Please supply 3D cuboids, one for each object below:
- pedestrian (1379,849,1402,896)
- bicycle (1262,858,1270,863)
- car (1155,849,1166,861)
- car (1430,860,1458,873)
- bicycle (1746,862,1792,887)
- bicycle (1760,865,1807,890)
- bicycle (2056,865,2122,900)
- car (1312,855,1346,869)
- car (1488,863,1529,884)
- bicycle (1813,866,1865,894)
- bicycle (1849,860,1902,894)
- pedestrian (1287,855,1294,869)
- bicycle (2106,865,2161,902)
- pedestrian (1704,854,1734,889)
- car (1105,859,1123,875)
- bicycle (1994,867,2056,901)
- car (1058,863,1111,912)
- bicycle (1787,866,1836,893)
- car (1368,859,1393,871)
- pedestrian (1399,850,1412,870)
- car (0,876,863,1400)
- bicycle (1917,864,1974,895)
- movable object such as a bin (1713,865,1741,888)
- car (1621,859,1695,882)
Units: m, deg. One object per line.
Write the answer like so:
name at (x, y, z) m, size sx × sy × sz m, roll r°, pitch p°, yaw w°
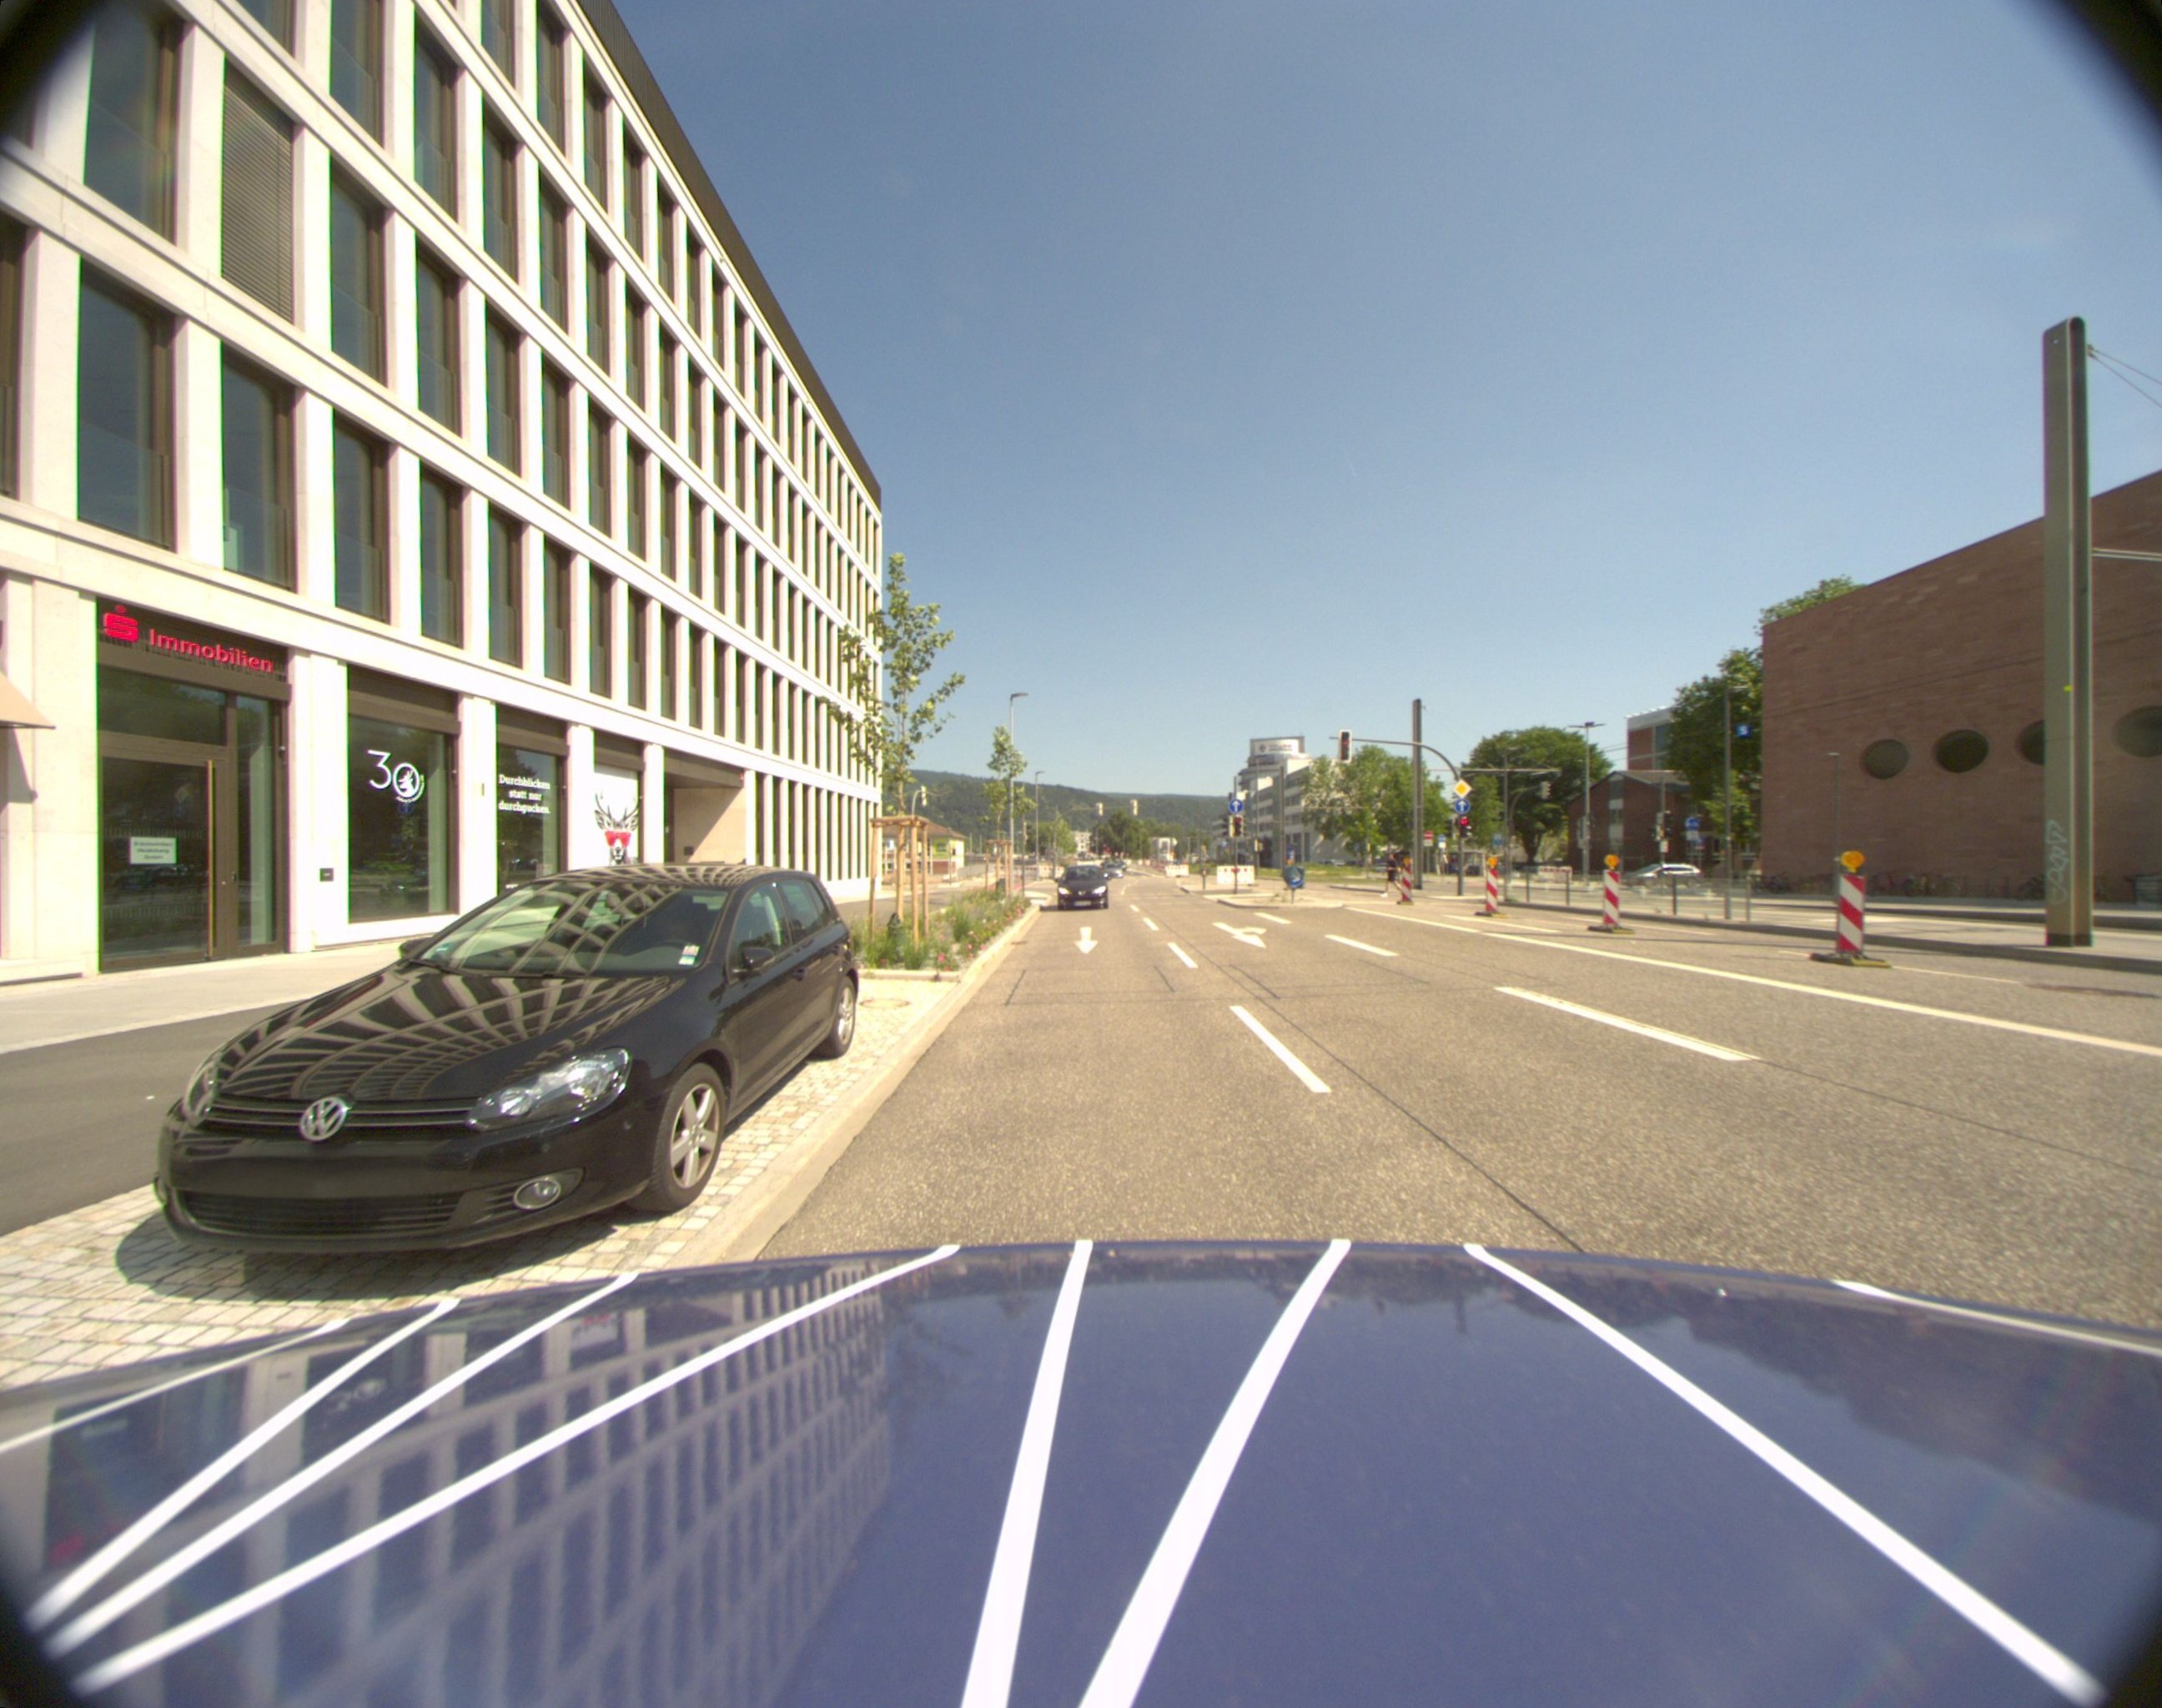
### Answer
pedestrian at (12.445, 0.741, 30.557) m, size 0.654 × 1.822 × 0.661 m, roll -2°, pitch 0°, yaw 5°
bicycle at (40.633, 1.391, 166.913) m, size 1.650 × 1.182 × 0.438 m, roll -2°, pitch 0°, yaw 1°
car at (19.218, 0.160, 183.512) m, size 2.082 × 2.724 × 5.986 m, roll 1°, pitch 0°, yaw 2°
car at (48.654, 1.655, 101.917) m, size 1.773 × 1.581 × 3.636 m, roll -2°, pitch 0°, yaw -4°
bicycle at (34.264, 1.013, 37.850) m, size 2.058 × 1.205 × 0.539 m, roll 0°, pitch 0°, yaw -10°
bicycle at (34.312, 1.140, 37.113) m, size 2.058 × 1.205 × 0.539 m, roll 0°, pitch 0°, yaw -10°
bicycle at (36.021, 1.003, 27.150) m, size 2.058 × 1.205 × 0.539 m, roll -1°, pitch 0°, yaw -10°
car at (41.048, 1.298, 125.641) m, size 5.063 × 2.167 × 2.118 m, roll -1°, pitch 1°, yaw 28°
car at (39.800, 1.817, 70.807) m, size 1.702 × 1.751 × 3.939 m, roll -1°, pitch 1°, yaw 1°
bicycle at (34.568, 1.188, 34.655) m, size 2.058 × 1.205 × 0.539 m, roll -1°, pitch 0°, yaw -9°
bicycle at (34.806, 1.000, 33.298) m, size 2.058 × 1.444 × 0.539 m, roll -1°, pitch 0°, yaw -10°
pedestrian at (31.848, 1.198, 115.621) m, size 0.841 × 2.002 × 0.984 m, roll -1°, pitch 0°, yaw 3°
bicycle at (36.385, 1.015, 26.086) m, size 2.058 × 1.205 × 0.539 m, roll -1°, pitch 0°, yaw -10°
pedestrian at (29.430, 0.801, 35.048) m, size 0.934 × 1.553 × 0.792 m, roll -1°, pitch 0°, yaw -30°
car at (3.185, 1.240, 73.573) m, size 1.618 × 1.432 × 3.768 m, roll 0°, pitch 0°, yaw 0°
bicycle at (35.745, 1.123, 28.786) m, size 2.058 × 1.205 × 0.539 m, roll -1°, pitch 0°, yaw -10°
car at (0.086, 1.051, 25.226) m, size 1.618 × 1.433 × 3.706 m, roll 0°, pitch 1°, yaw 0°
bicycle at (34.405, 1.181, 35.770) m, size 2.058 × 1.205 × 0.539 m, roll -1°, pitch 0°, yaw -10°
car at (41.225, 1.451, 104.808) m, size 1.773 × 1.581 × 3.636 m, roll -2°, pitch 0°, yaw -4°
pedestrian at (31.546, 0.574, 73.854) m, size 0.813 × 1.836 × 1.108 m, roll -1°, pitch 0°, yaw 7°
car at (-2.590, 0.924, 4.303) m, size 1.741 × 1.465 × 3.979 m, roll 1°, pitch 0°, yaw -3°
bicycle at (35.470, 1.045, 31.175) m, size 2.058 × 1.205 × 0.539 m, roll -1°, pitch 0°, yaw -10°
movable object such as a bin at (30.169, 1.055, 35.469) m, size 0.716 × 1.025 × 0.792 m, roll -1°, pitch 0°, yaw -30°
car at (36.493, 1.032, 48.107) m, size 3.487 × 1.361 × 1.573 m, roll -1°, pitch 0°, yaw 0°
